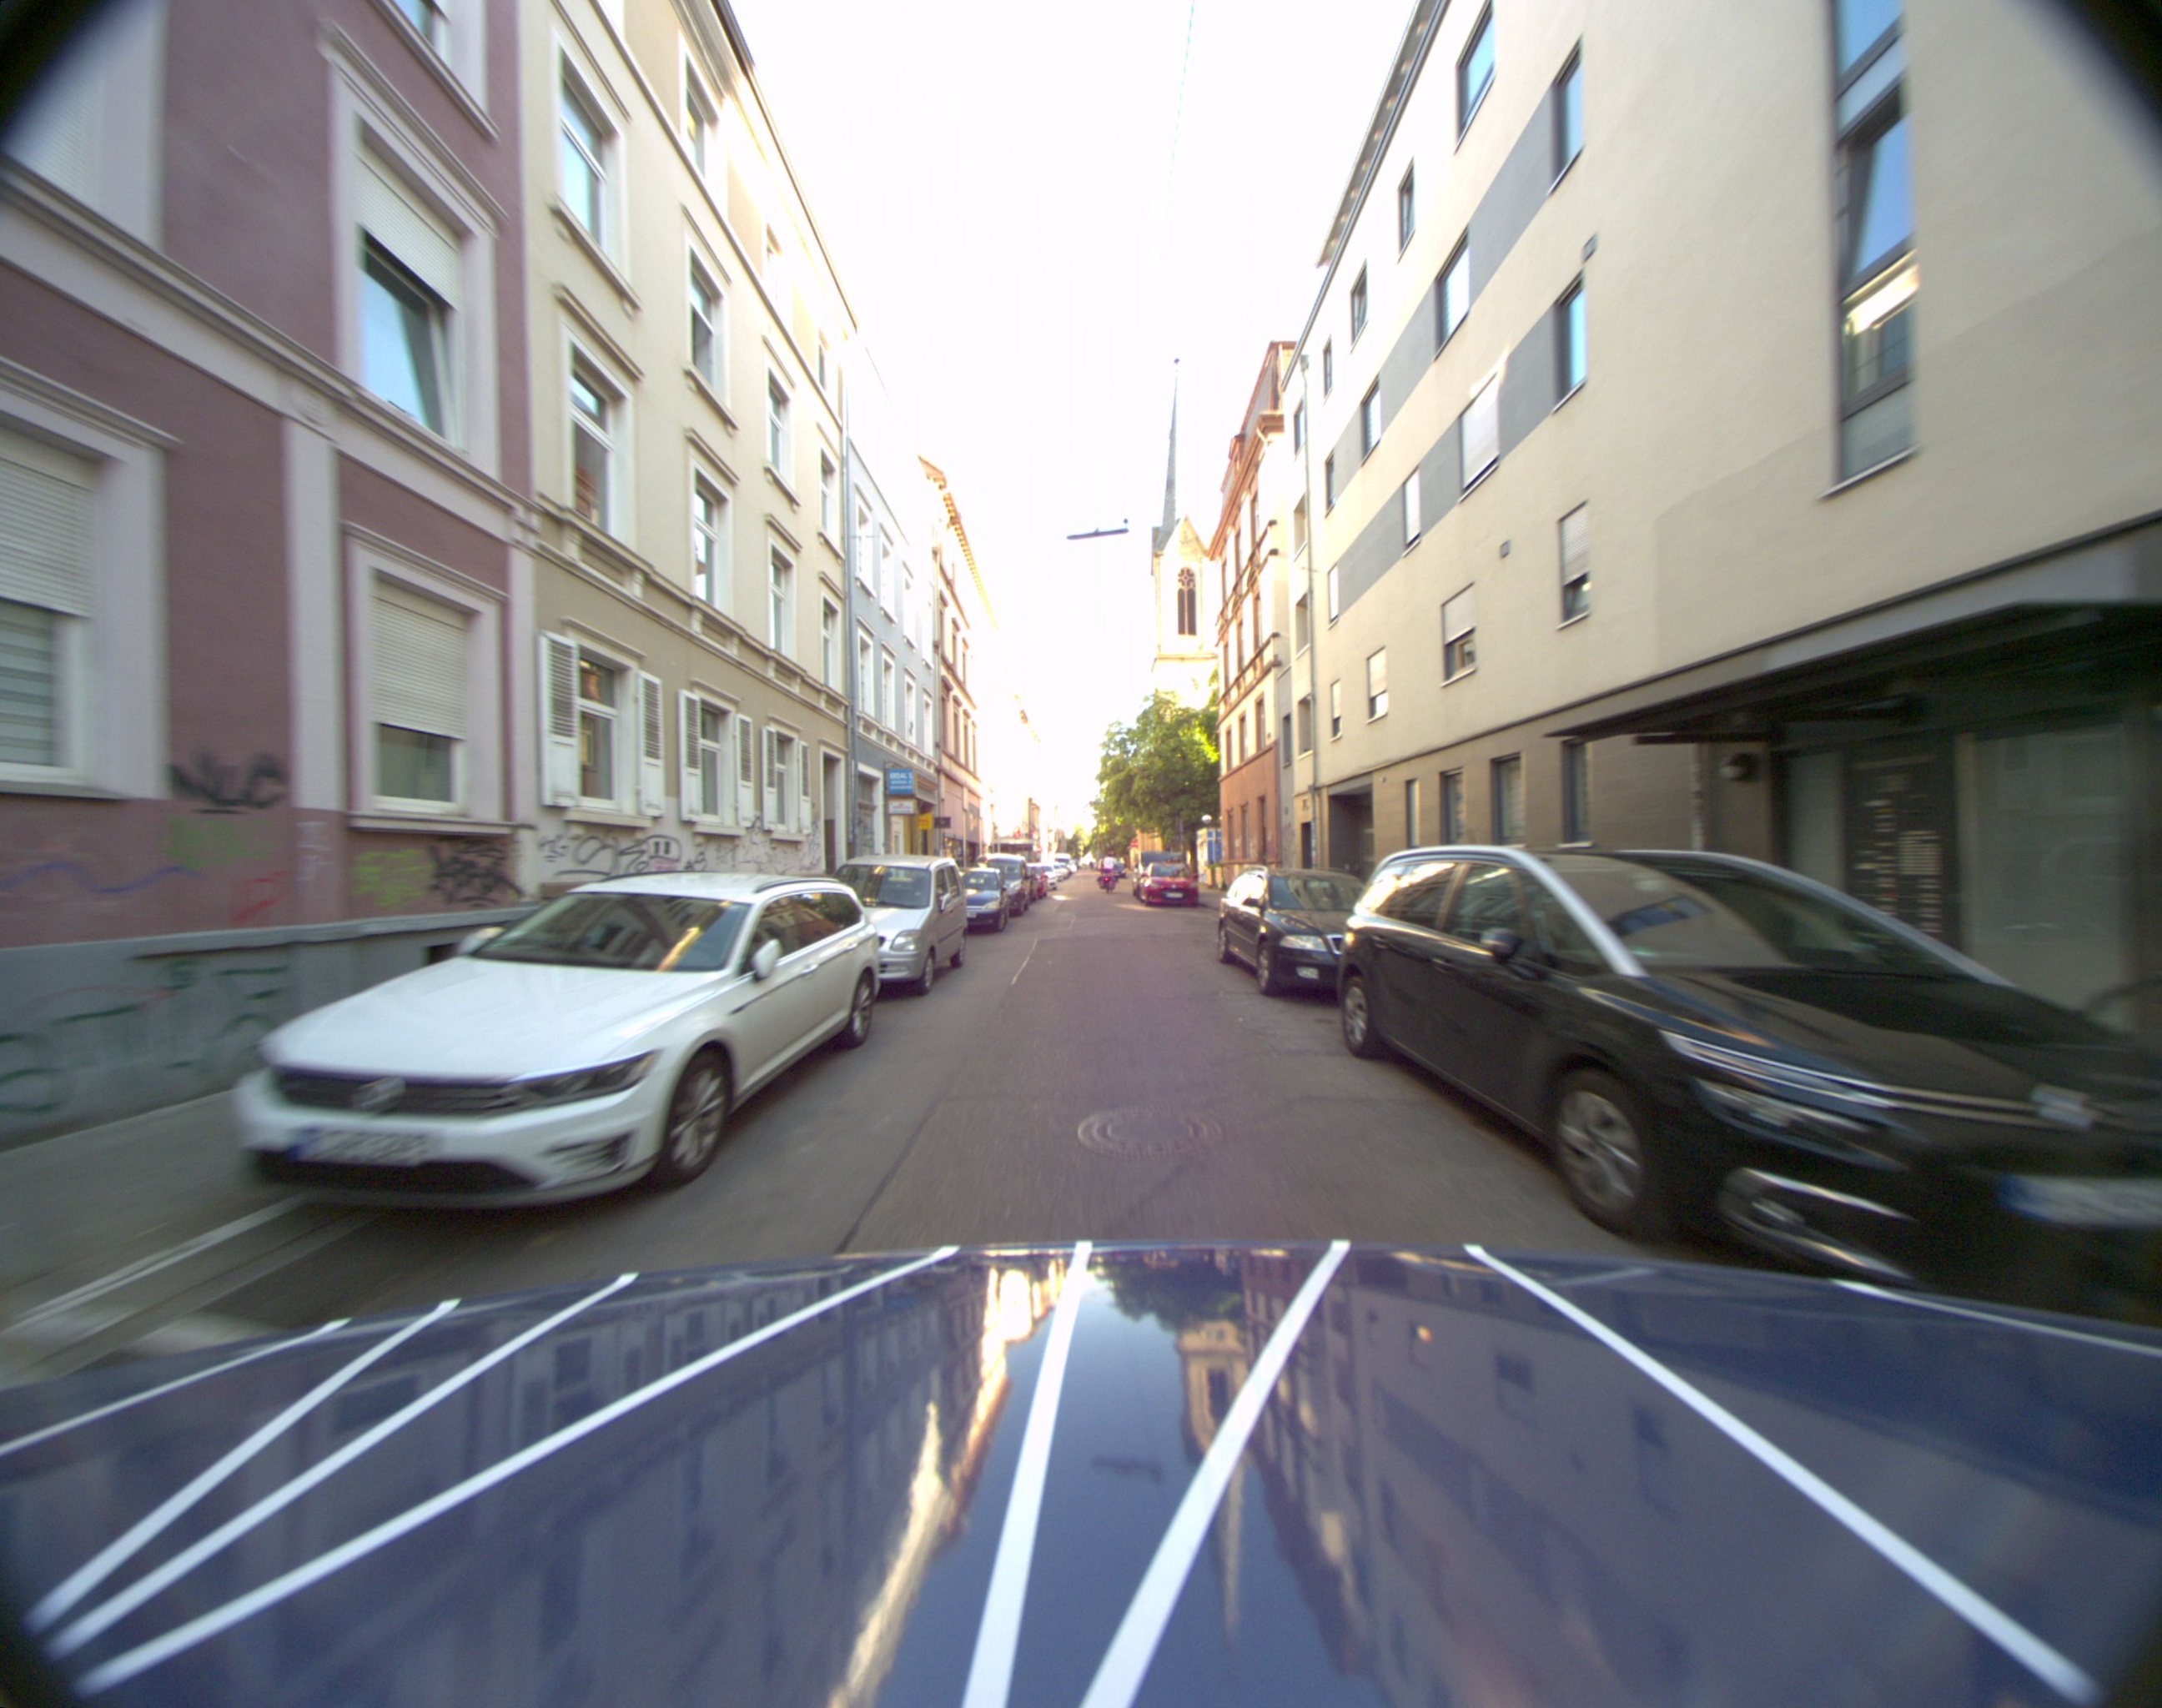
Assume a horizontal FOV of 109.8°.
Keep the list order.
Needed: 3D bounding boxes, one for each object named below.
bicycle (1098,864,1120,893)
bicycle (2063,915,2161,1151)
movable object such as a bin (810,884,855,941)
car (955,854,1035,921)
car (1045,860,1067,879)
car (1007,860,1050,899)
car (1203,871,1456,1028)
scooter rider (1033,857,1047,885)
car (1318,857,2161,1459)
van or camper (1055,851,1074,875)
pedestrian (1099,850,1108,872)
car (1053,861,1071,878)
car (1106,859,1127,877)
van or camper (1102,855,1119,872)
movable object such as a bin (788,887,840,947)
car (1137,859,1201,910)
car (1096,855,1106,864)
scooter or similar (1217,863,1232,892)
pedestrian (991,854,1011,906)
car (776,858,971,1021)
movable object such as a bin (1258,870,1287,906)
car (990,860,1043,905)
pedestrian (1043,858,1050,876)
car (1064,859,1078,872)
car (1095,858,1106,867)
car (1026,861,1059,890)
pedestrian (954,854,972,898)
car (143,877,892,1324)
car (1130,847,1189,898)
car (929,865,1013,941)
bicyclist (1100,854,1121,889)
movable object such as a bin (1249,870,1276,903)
[{"bbox_3d":[1.335,1.139,35.995,0.980,1.306,2.556,0,0,2],"label":"bicycle"},{"bbox_3d":[5.692,0.918,3.328,0.491,1.157,1.773,1,0,1],"label":"bicycle"},{"bbox_3d":[-5.016,1.168,15.359,0.696,1.081,0.632,1,0,0],"label":"movable object such as a bin"},{"bbox_3d":[-2.539,0.932,23.354,1.904,1.783,4.314,-2,0,0],"label":"car"},{"bbox_3d":[-2.050,1.230,62.633,1.694,1.454,3.640,-2,0,-2],"label":"car"},{"bbox_3d":[-2.289,1.119,34.084,1.610,1.563,3.553,-2,0,0],"label":"car"},{"bbox_3d":[2.815,0.991,9.744,1.721,1.470,4.499,2,-1,0],"label":"car"},{"bbox_3d":[-2.674,1.108,49.669,0.610,1.768,0.566,-1,1,40],"label":"scooter rider"},{"bbox_3d":[2.866,0.894,4.239,1.721,1.640,4.246,2,-1,0],"label":"car"},{"bbox_3d":[-1.898,1.007,88.574,1.998,2.617,5.979,-2,0,1],"label":"van or camper"},{"bbox_3d":[1.880,0.588,63.824,0.718,1.862,0.720,-2,1,0],"label":"pedestrian"},{"bbox_3d":[-1.774,1.444,72.918,1.558,1.517,4.201,-2,0,1],"label":"car"},{"bbox_3d":[3.262,1.264,71.181,1.798,1.543,3.834,-2,0,1],"label":"car"},{"bbox_3d":[3.595,1.126,93.070,1.984,1.939,4.563,-1,0,1],"label":"van or camper"},{"bbox_3d":[-5.016,1.172,14.298,0.754,1.081,0.559,1,0,0],"label":"movable object such as a bin"},{"bbox_3d":[2.961,0.992,26.222,1.755,1.513,3.869,2,0,1],"label":"car"},{"bbox_3d":[3.982,1.040,148.482,1.777,1.614,4.022,-1,0,-1],"label":"car"},{"bbox_3d":[6.308,1.003,33.428,0.348,1.209,1.391,-2,0,0],"label":"scooter or similar"},{"bbox_3d":[-2.730,0.880,25.853,0.428,1.730,0.561,-2,1,-28],"label":"pedestrian"},{"bbox_3d":[-2.529,0.946,10.097,1.560,1.702,3.558,-2,0,0],"label":"car"},{"bbox_3d":[6.033,1.059,23.914,0.731,1.060,0.505,-2,1,-31],"label":"movable object such as a bin"},{"bbox_3d":[-2.465,1.063,29.632,1.573,1.548,3.314,2,1,2],"label":"car"},{"bbox_3d":[-3.672,1.381,80.937,0.563,1.883,0.530,-2,1,0],"label":"pedestrian"},{"bbox_3d":[-1.348,1.571,102.574,1.696,1.615,3.963,-1,0,1],"label":"car"},{"bbox_3d":[3.665,1.642,142.633,1.777,1.614,4.022,-1,0,-1],"label":"car"},{"bbox_3d":[-2.178,1.195,44.113,1.792,1.507,4.135,-2,0,-2],"label":"car"},{"bbox_3d":[-4.741,0.875,30.440,0.630,1.730,0.658,-2,1,-12],"label":"pedestrian"},{"bbox_3d":[-2.736,1.017,5.222,1.701,1.534,4.628,1,0,0],"label":"car"},{"bbox_3d":[3.156,0.725,31.524,2.025,1.868,5.298,-2,-1,2],"label":"car"},{"bbox_3d":[-2.535,1.077,18.148,1.556,1.502,3.611,-2,0,-2],"label":"car"},{"bbox_3d":[1.392,0.838,36.078,0.952,1.618,0.953,1,0,1],"label":"bicyclist"},{"bbox_3d":[5.938,1.058,24.800,0.760,1.060,0.652,-2,1,20],"label":"movable object such as a bin"}]
